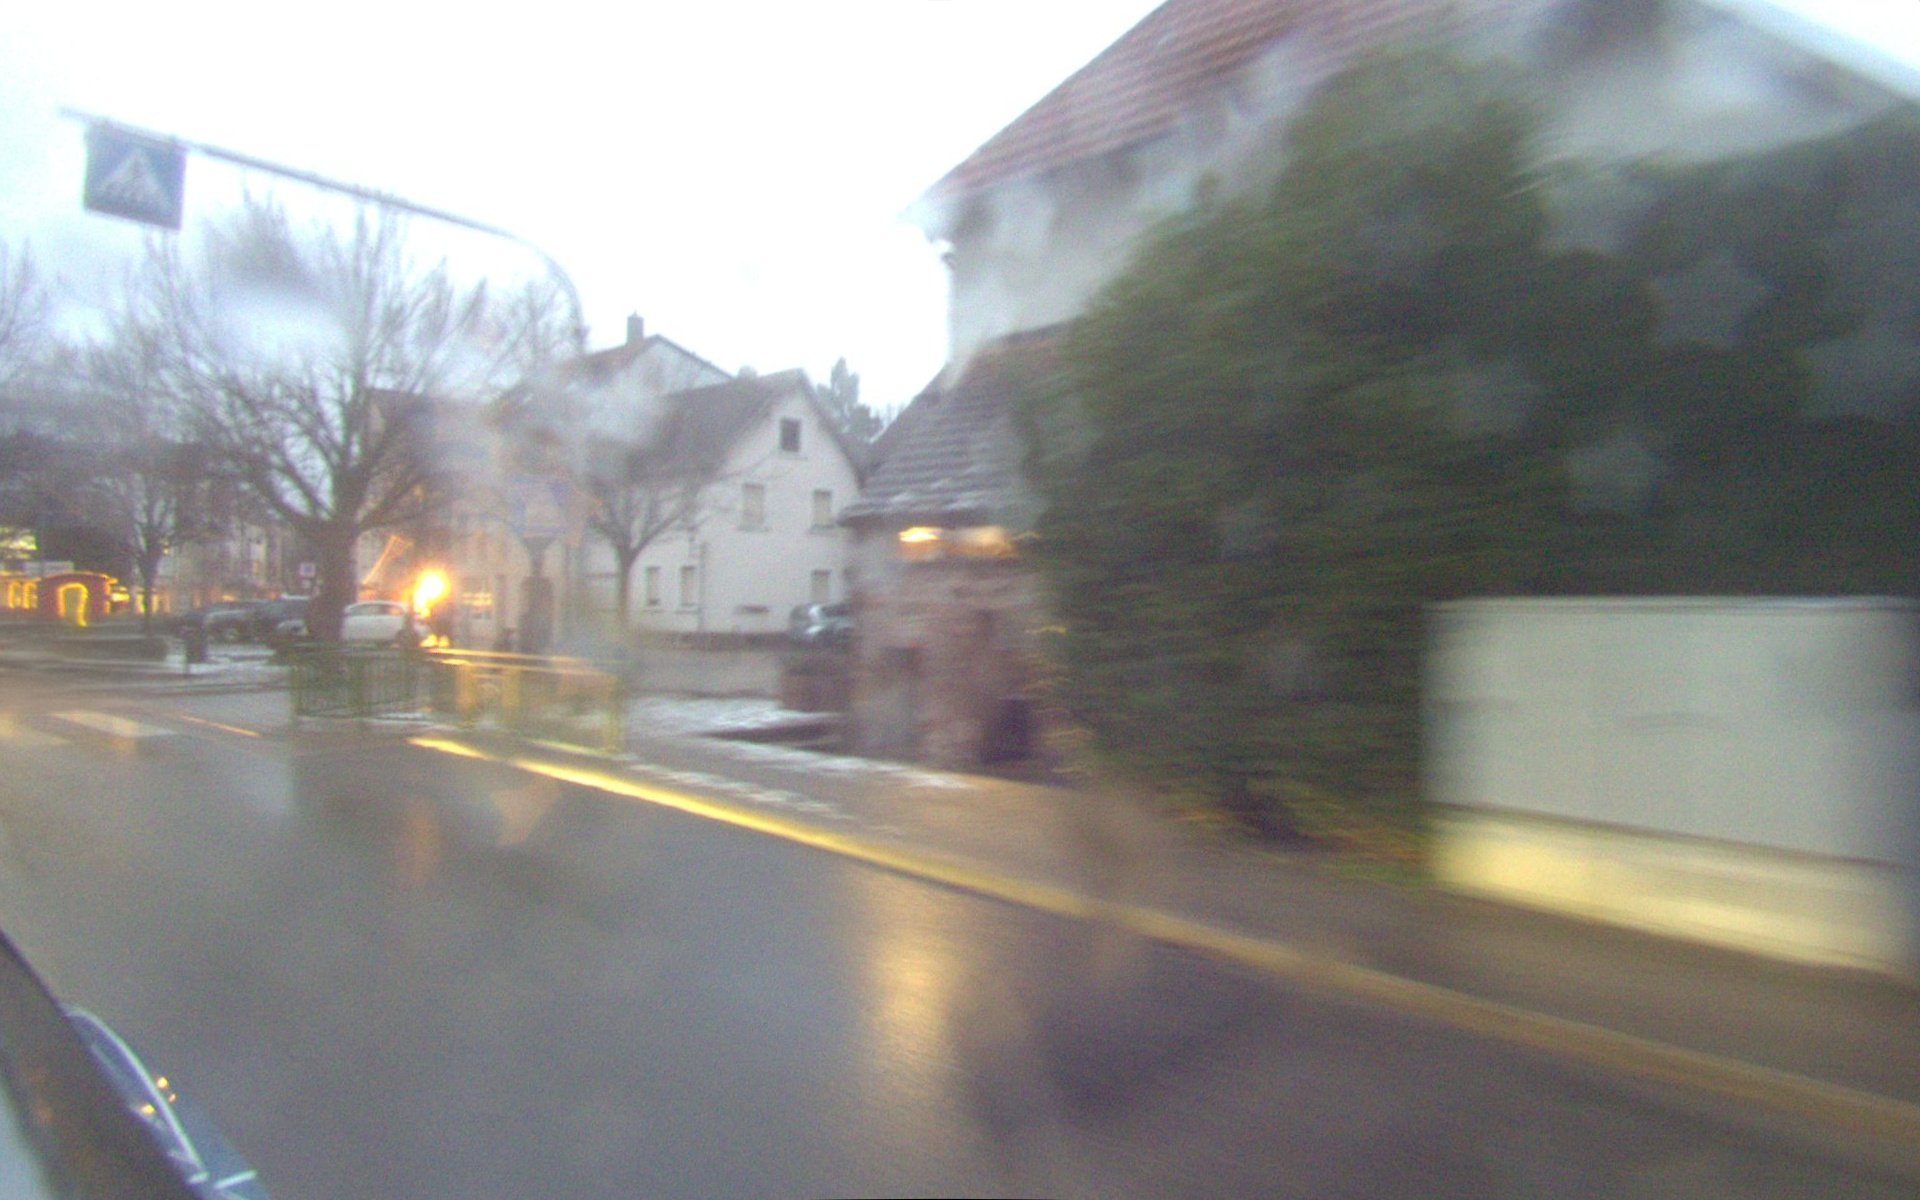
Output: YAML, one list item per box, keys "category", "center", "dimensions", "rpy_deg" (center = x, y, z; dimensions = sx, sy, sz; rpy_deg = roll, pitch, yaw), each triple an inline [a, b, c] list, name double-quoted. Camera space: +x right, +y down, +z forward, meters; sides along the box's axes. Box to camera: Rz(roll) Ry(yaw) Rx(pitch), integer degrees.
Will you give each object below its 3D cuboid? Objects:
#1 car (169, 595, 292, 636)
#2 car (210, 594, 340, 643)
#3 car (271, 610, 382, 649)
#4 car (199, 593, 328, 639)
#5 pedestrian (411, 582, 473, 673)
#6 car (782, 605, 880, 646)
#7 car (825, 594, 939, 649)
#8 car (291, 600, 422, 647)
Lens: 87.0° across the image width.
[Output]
- category: "car"
  center: [-29.905, 0.631, 41.629]
  dimensions: [3.931, 1.644, 1.640]
  rpy_deg: [0, -1, -28]
- category: "car"
  center: [-24.132, 0.626, 35.815]
  dimensions: [3.572, 1.624, 1.616]
  rpy_deg: [-1, 0, -24]
- category: "car"
  center: [-21.538, 0.991, 34.520]
  dimensions: [3.002, 1.229, 1.616]
  rpy_deg: [-1, 0, -24]
- category: "car"
  center: [-26.197, 0.597, 38.236]
  dimensions: [3.932, 1.644, 1.639]
  rpy_deg: [0, -1, -33]
- category: "pedestrian"
  center: [-10.317, 0.544, 20.145]
  dimensions: [0.869, 1.748, 0.956]
  rpy_deg: [0, -1, -43]
- category: "car"
  center: [-4.448, 0.871, 35.144]
  dimensions: [1.530, 1.134, 3.011]
  rpy_deg: [-1, 4, 45]
- category: "car"
  center: [-2.524, 0.661, 33.403]
  dimensions: [1.713, 1.624, 3.561]
  rpy_deg: [-1, 1, 41]
- category: "car"
  center: [-19.491, 0.734, 32.842]
  dimensions: [3.425, 1.420, 1.616]
  rpy_deg: [-1, 0, -22]
